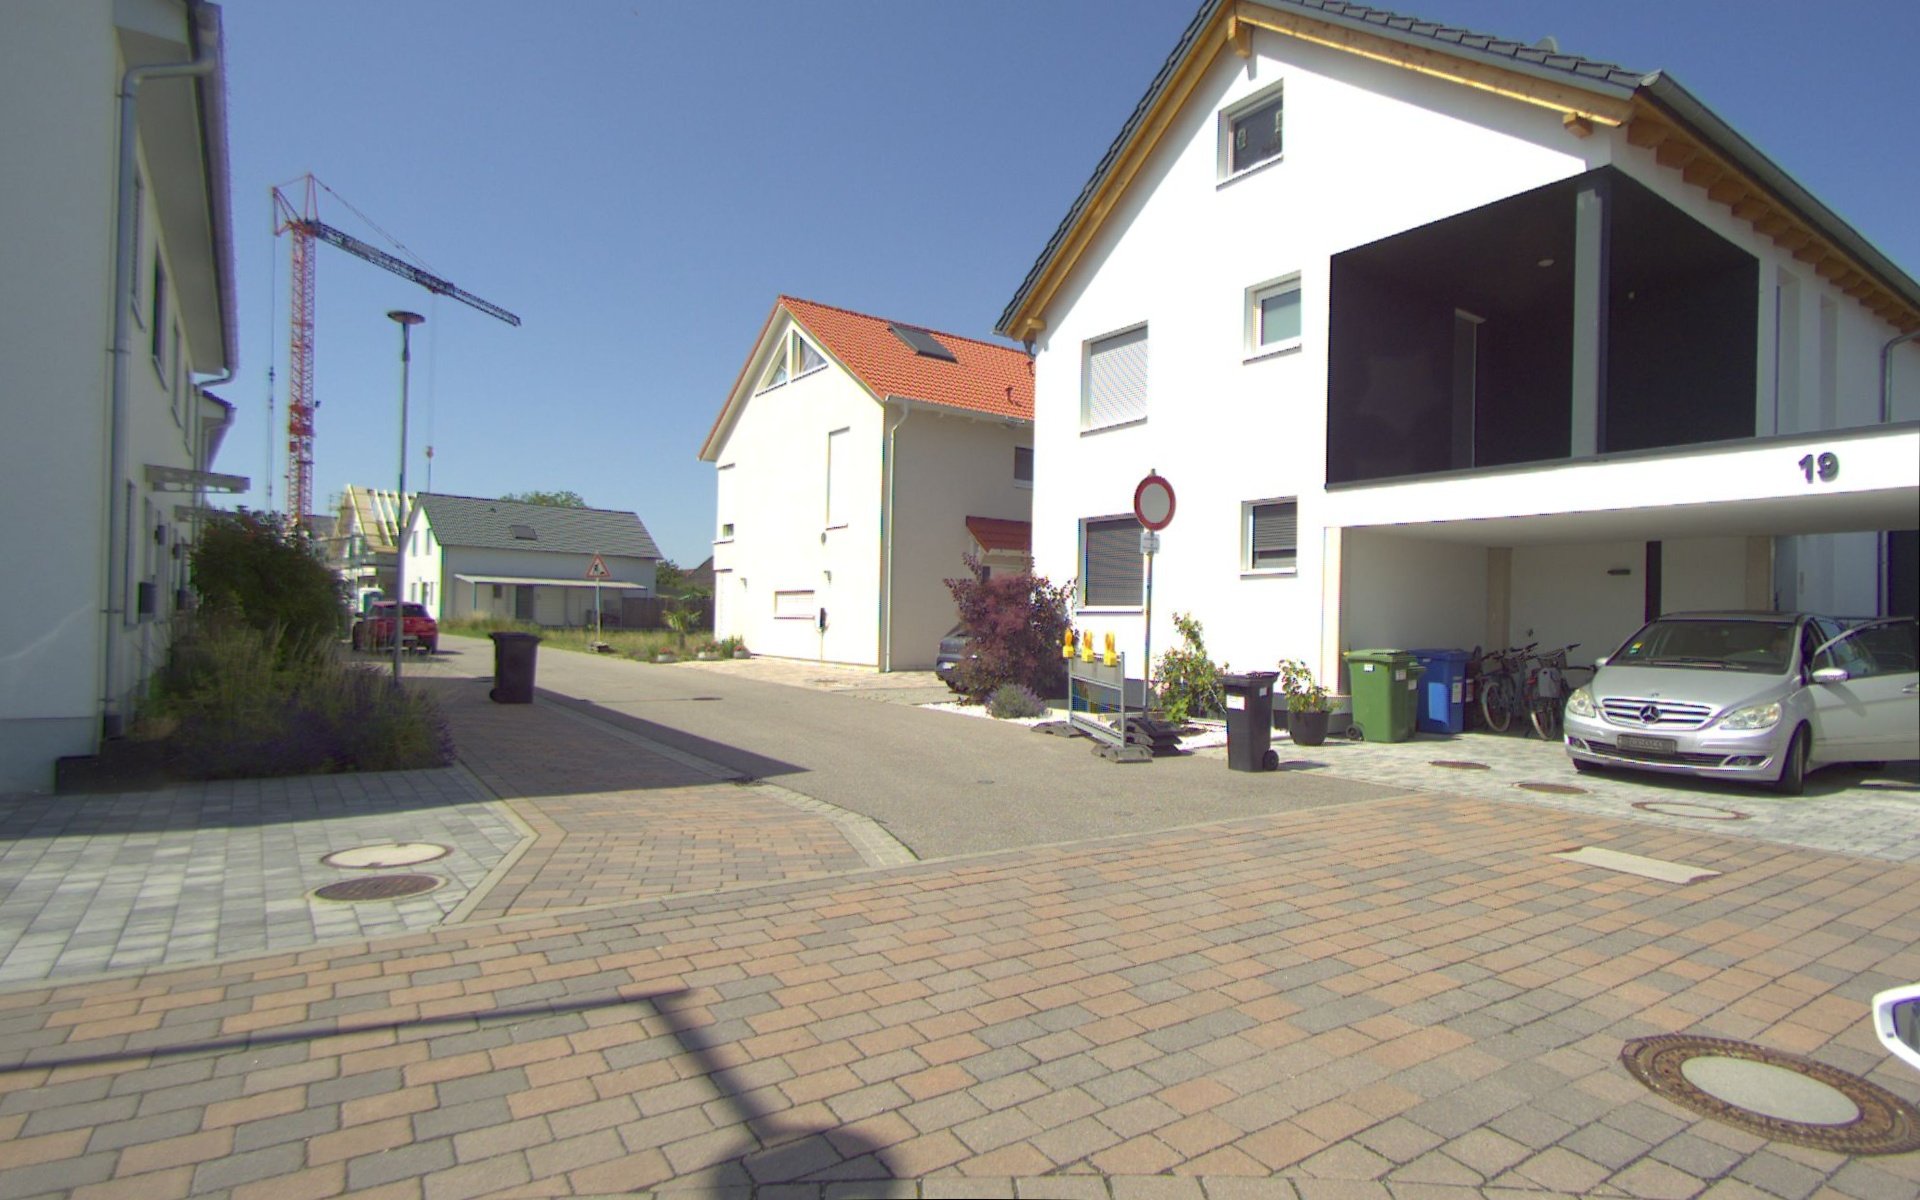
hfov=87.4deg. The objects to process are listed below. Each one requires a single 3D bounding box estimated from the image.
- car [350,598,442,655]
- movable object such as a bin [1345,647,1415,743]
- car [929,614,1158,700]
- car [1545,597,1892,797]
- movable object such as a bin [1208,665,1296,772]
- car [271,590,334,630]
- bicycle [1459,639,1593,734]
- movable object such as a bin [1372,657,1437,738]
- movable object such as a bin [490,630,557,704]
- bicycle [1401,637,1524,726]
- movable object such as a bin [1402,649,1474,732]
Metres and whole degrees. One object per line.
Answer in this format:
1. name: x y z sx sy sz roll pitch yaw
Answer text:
1. car: -16.788 0.760 29.803 1.894 1.498 3.959 2 0 -36
2. movable object such as a bin: 5.022 1.114 12.023 0.495 1.106 0.595 1 -2 -36
3. car: 1.586 1.003 18.399 4.022 1.399 1.738 2 -1 -36
4. car: 7.592 0.847 9.917 4.128 1.582 1.726 3 -2 -38
5. movable object such as a bin: 2.808 1.122 9.670 0.613 0.949 0.559 1 -1 -37
6. car: -29.280 0.422 44.696 1.790 1.639 3.630 2 0 -42
7. bicycle: 7.607 1.120 13.463 2.112 1.141 0.723 2 0 -36
8. movable object such as a bin: 5.471 1.188 12.366 0.495 0.917 0.555 0 1 -36
9. movable object such as a bin: -6.660 1.009 15.328 0.816 1.079 0.584 1 0 -37
10. bicycle: 7.139 1.107 14.212 2.116 1.141 0.770 2 0 -40
11. movable object such as a bin: 6.175 1.154 12.977 0.495 1.000 0.670 1 0 -36
